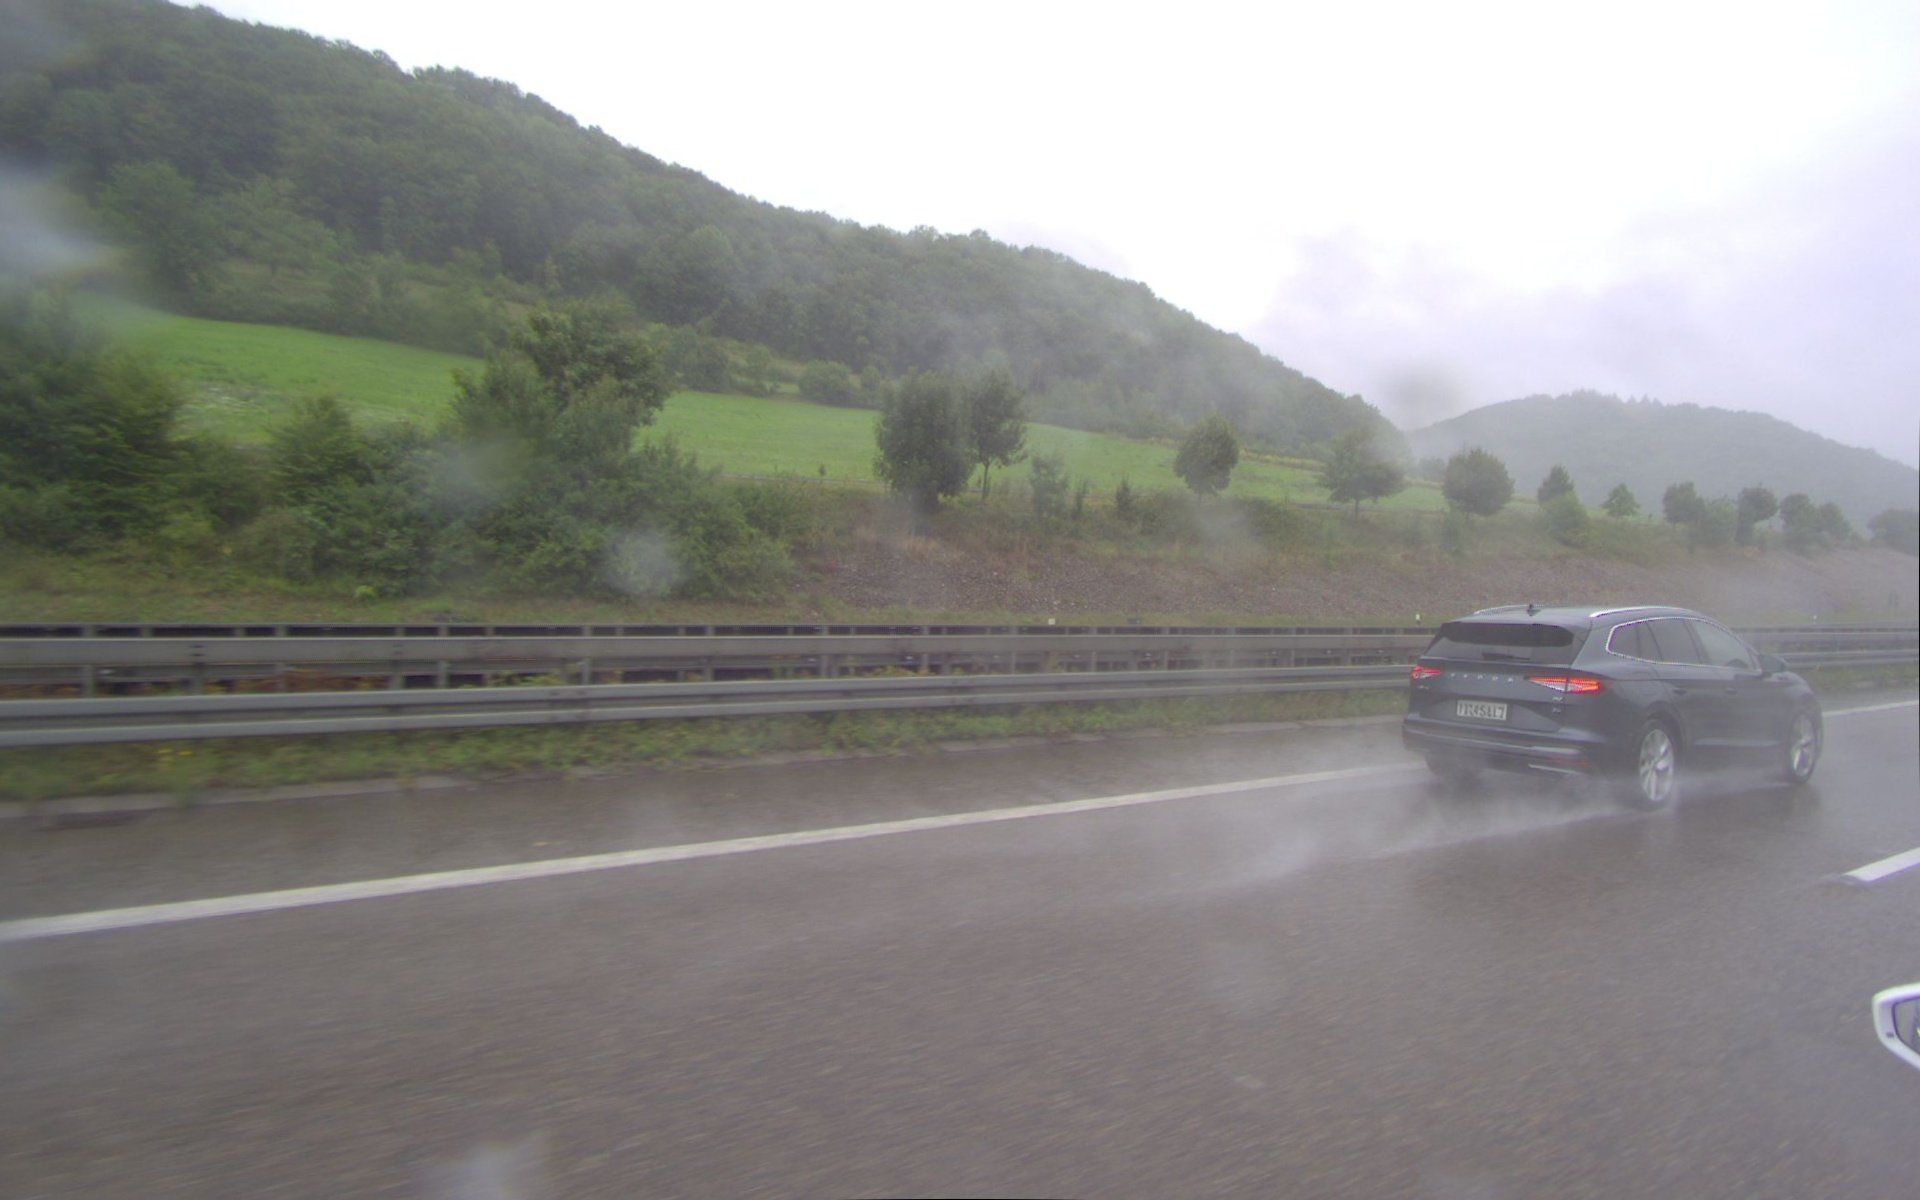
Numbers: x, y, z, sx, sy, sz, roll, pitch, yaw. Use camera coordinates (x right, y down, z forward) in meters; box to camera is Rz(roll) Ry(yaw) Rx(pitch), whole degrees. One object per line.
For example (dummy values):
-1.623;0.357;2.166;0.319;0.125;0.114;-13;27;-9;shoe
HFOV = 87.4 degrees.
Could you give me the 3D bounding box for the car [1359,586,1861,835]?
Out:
5.975;0.762;9.048;4.855;1.705;1.982;0;-1;-33;car
